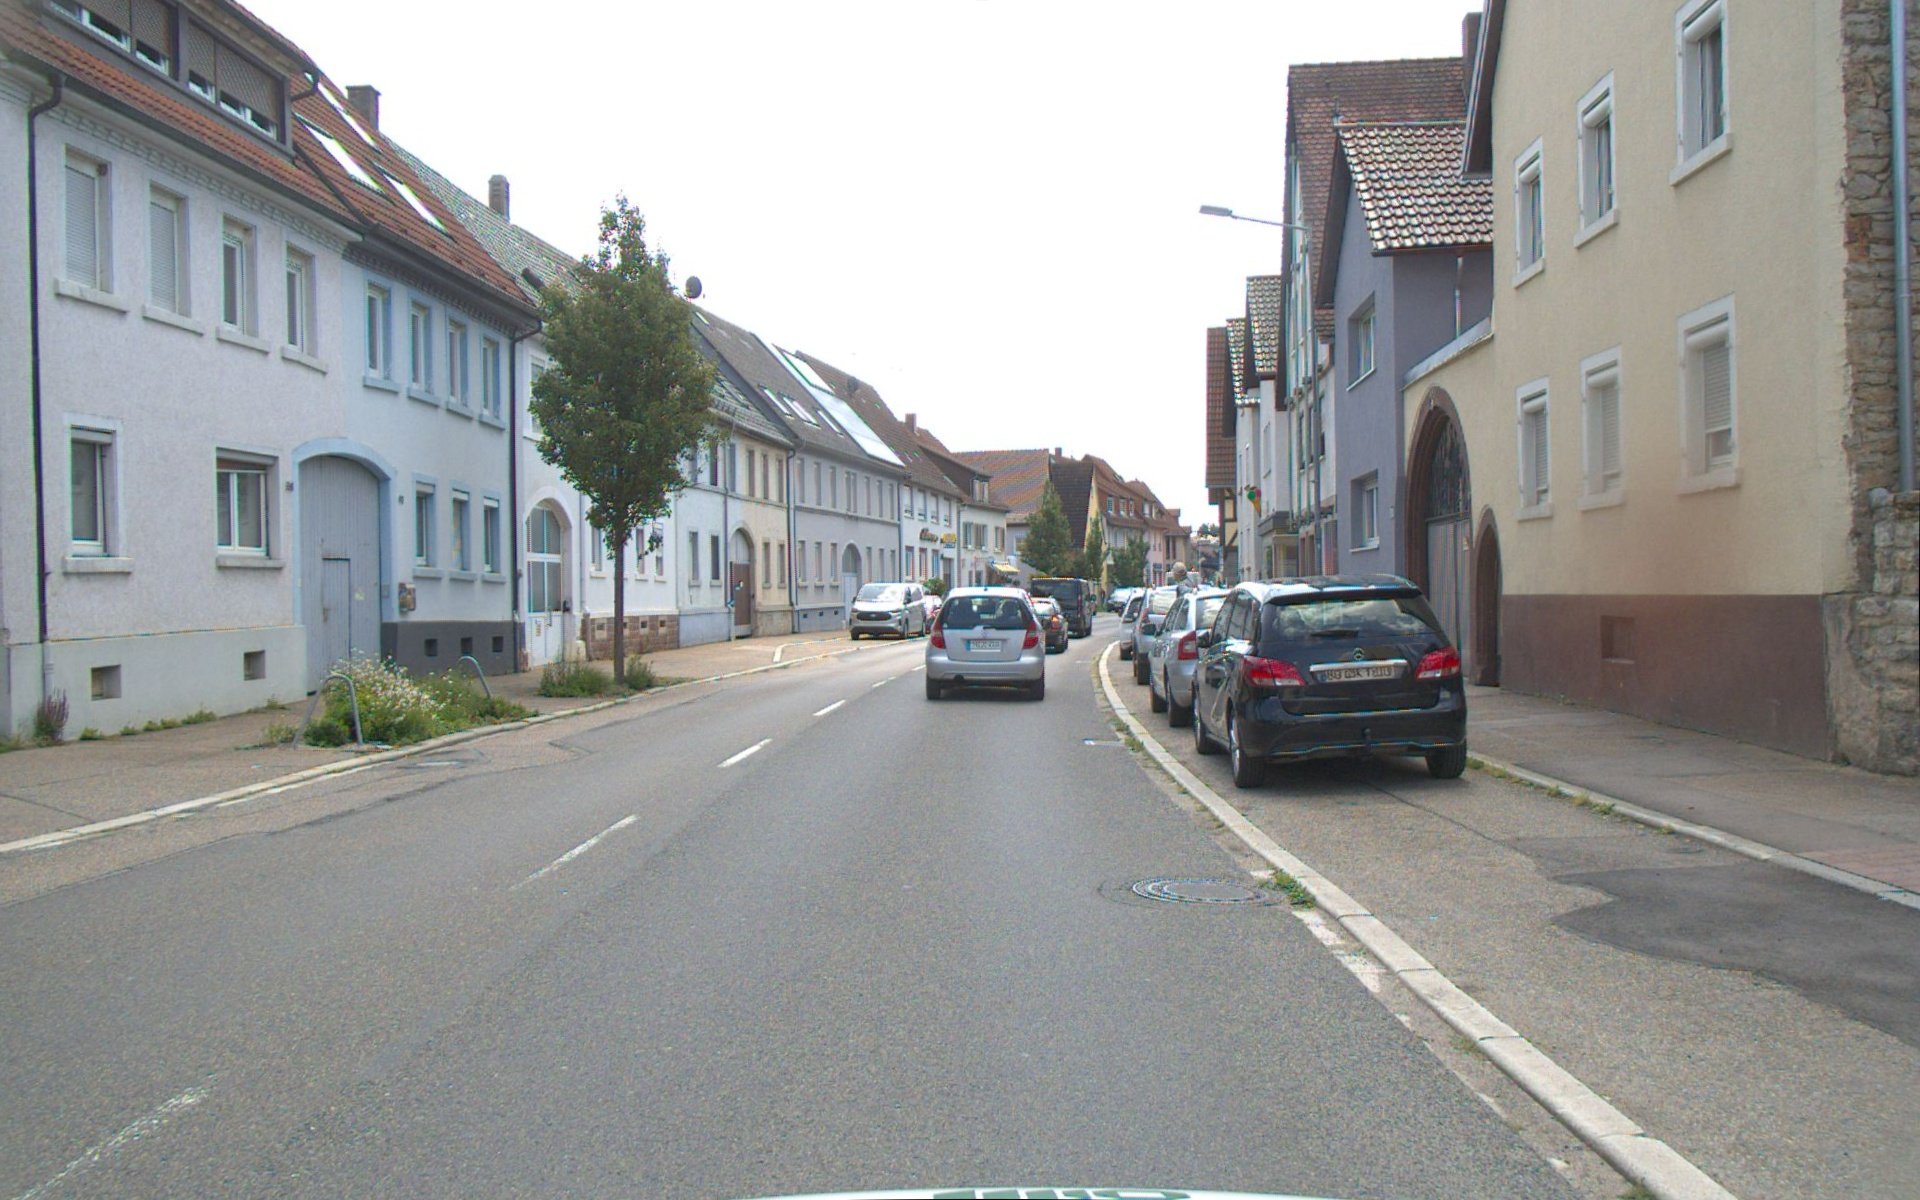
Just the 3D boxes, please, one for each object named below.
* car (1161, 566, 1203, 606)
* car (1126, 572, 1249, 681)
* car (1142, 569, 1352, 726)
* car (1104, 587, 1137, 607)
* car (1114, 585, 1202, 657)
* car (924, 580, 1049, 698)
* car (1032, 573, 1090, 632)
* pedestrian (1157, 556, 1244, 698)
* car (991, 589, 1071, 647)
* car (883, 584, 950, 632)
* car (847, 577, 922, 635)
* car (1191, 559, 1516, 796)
[{"bbox_3d":[13.340,-0.848,99.296,2.188,2.261,4.003,-3,0,11],"label":"car"},{"bbox_3d":[3.829,0.421,28.446,1.821,1.654,4.199,-3,0,5],"label":"car"},{"bbox_3d":[3.231,0.504,19.407,1.822,1.558,4.198,-3,0,2],"label":"car"},{"bbox_3d":[11.069,-0.229,114.003,1.668,1.291,4.003,-3,0,13],"label":"car"},{"bbox_3d":[4.483,0.467,37.857,1.821,1.488,3.452,-3,0,5],"label":"car"},{"bbox_3d":[0.417,0.549,25.136,1.732,1.622,4.000,1,0,1],"label":"car"},{"bbox_3d":[3.524,0.100,57.184,1.731,1.921,4.450,1,0,6],"label":"car"},{"bbox_3d":[3.310,0.357,22.650,1.072,1.853,1.471,-2,0,10],"label":"pedestrian"},{"bbox_3d":[1.913,0.454,43.628,1.904,1.432,4.002,1,0,5],"label":"car"},{"bbox_3d":[-1.681,0.302,65.489,1.951,1.735,4.003,-3,0,8],"label":"car"},{"bbox_3d":[-2.626,0.192,58.195,2.047,1.917,4.003,-2,0,5],"label":"car"},{"bbox_3d":[3.076,0.528,13.769,1.952,1.586,4.002,-3,1,4],"label":"car"}]
